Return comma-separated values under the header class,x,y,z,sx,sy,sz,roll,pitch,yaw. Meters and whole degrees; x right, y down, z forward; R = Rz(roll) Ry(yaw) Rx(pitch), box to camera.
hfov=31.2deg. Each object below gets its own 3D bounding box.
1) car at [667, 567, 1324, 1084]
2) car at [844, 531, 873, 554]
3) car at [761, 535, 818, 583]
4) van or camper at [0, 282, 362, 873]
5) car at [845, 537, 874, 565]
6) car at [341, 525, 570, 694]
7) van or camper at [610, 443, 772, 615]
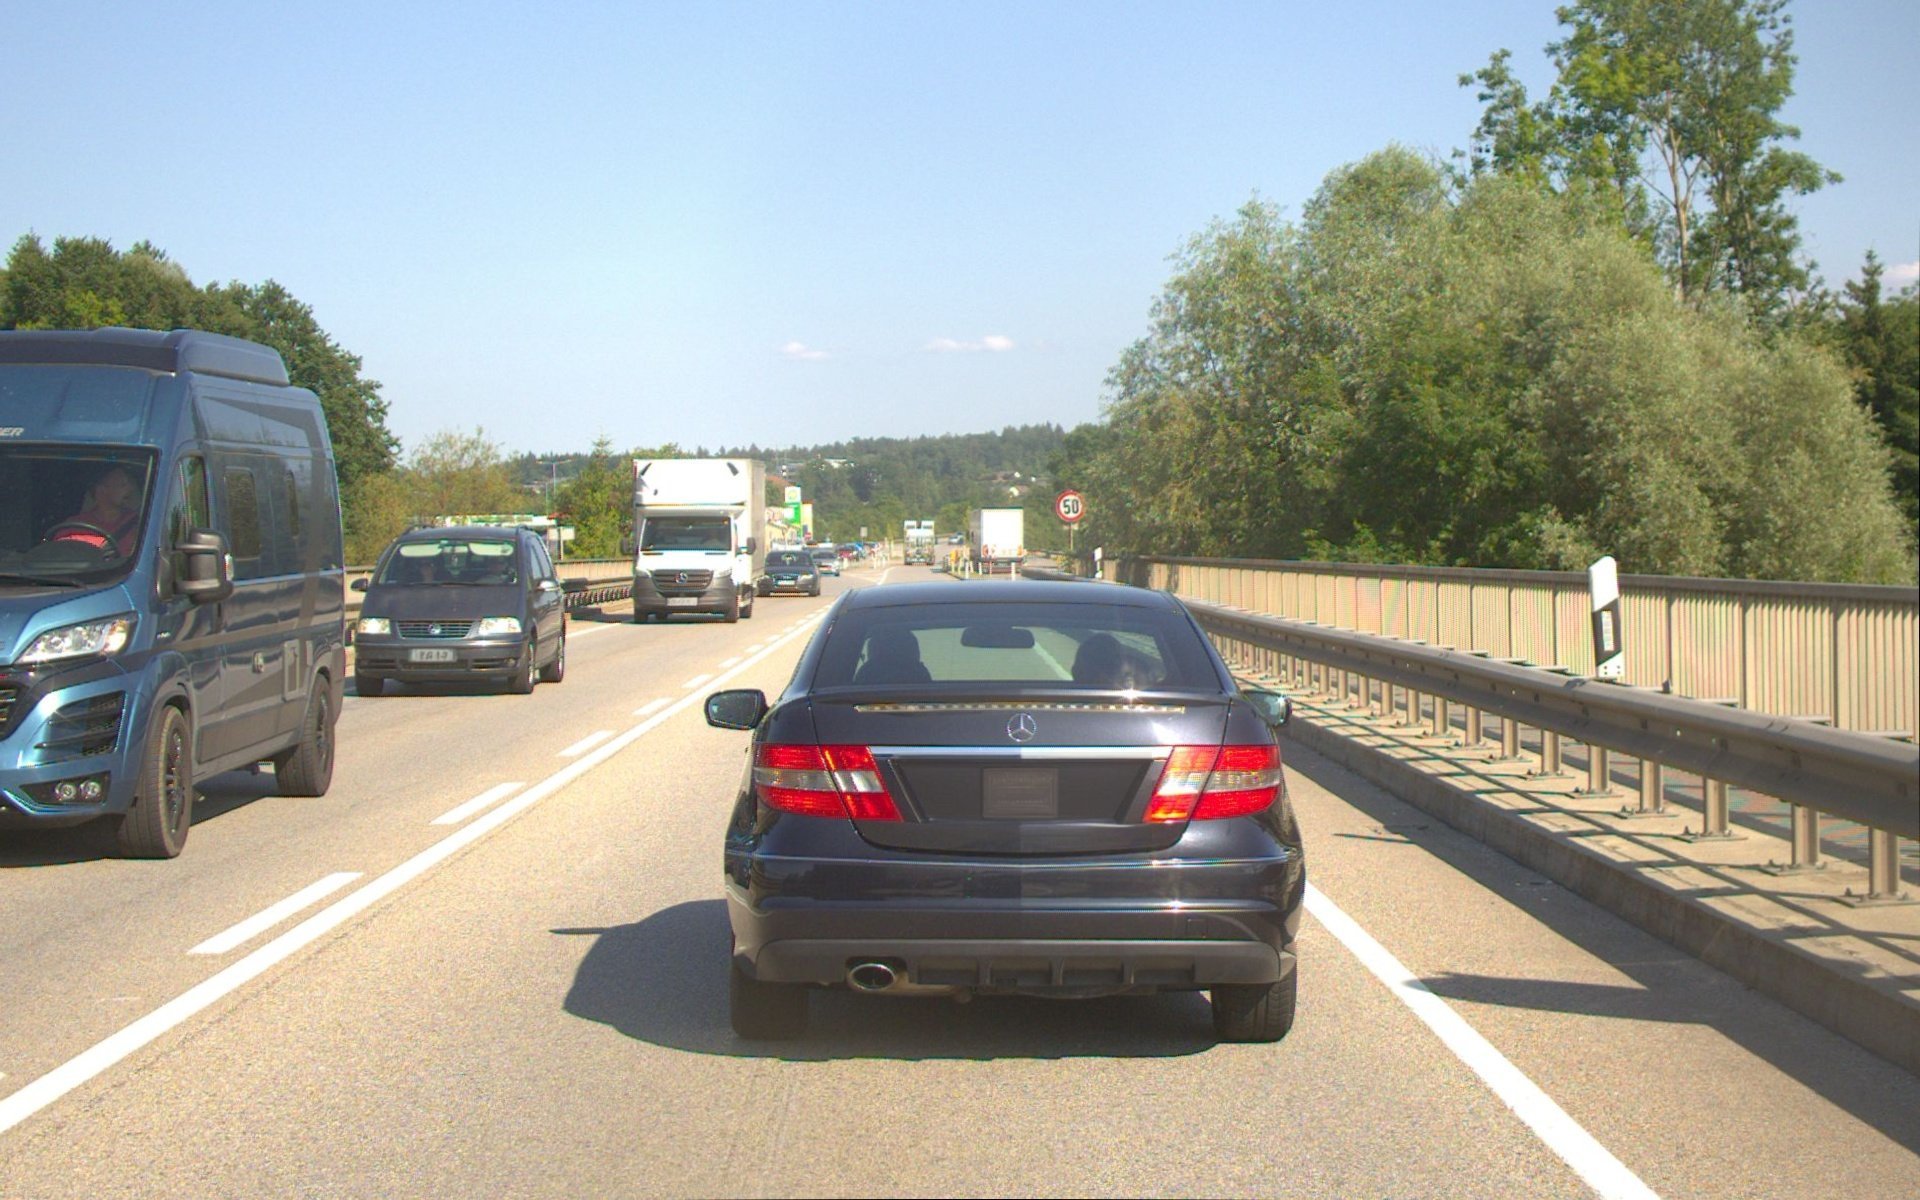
class,x,y,z,sx,sy,sz,roll,pitch,yaw
car,0.121,0.598,11.395,1.793,1.371,4.000,0,1,1
car,-6.992,-3.985,236.996,1.804,1.601,3.915,0,1,2
car,-5.133,-1.252,103.627,1.659,1.431,4.189,0,1,-3
van or camper,-4.947,-0.164,18.492,2.430,2.633,6.405,0,1,-1
car,-7.309,-3.584,250.665,1.993,2.007,4.000,0,1,0
car,-5.155,0.045,35.648,1.841,1.636,4.577,0,1,-2
van or camper,-5.284,-1.423,68.758,2.635,3.244,7.750,0,1,0
